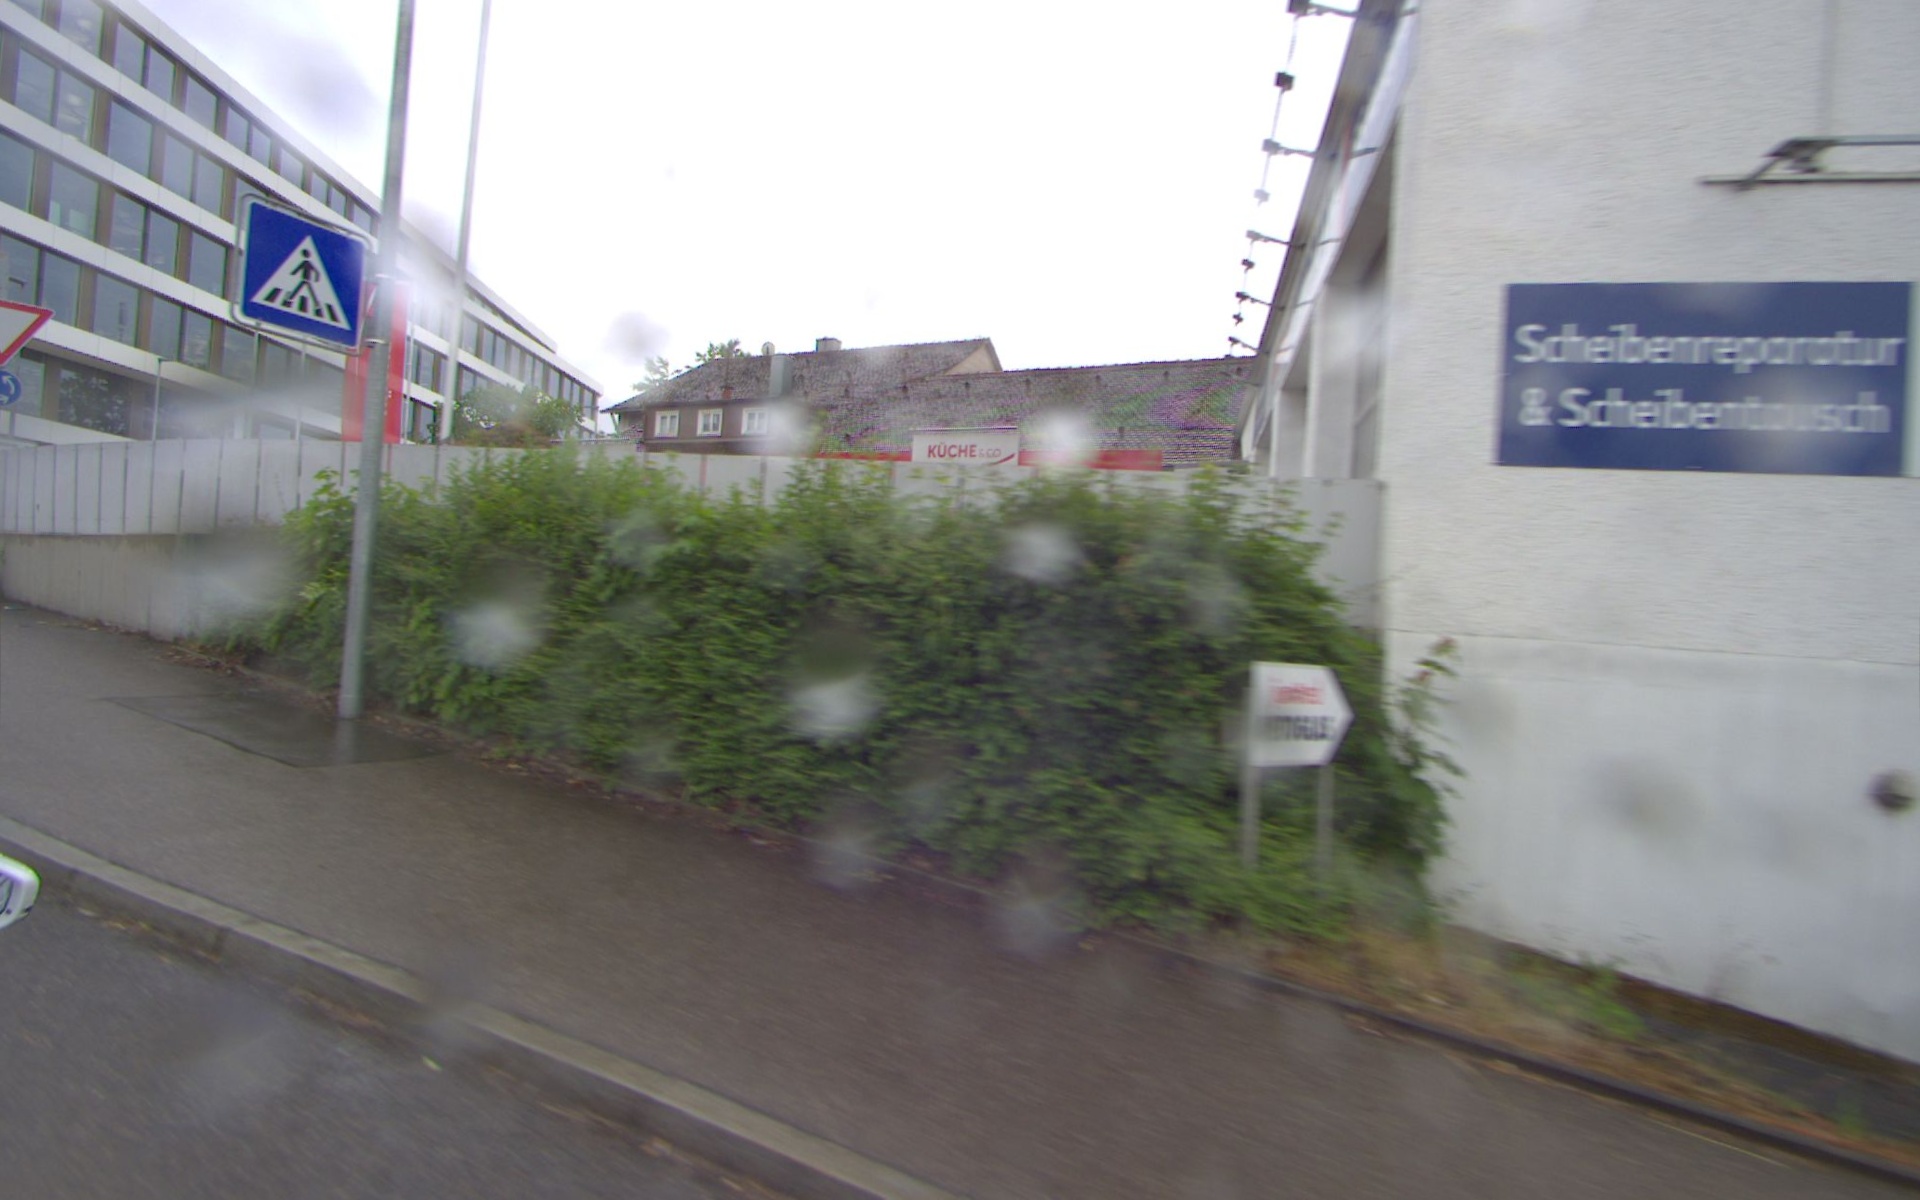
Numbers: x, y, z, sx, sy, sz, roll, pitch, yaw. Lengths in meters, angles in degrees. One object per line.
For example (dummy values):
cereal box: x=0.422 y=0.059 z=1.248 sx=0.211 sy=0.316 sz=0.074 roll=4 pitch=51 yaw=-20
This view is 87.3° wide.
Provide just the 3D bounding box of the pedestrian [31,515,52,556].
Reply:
pedestrian: x=-43.787 y=-3.057 z=47.973 sx=0.591 sy=1.865 sz=0.449 roll=6 pitch=-2 yaw=-40
